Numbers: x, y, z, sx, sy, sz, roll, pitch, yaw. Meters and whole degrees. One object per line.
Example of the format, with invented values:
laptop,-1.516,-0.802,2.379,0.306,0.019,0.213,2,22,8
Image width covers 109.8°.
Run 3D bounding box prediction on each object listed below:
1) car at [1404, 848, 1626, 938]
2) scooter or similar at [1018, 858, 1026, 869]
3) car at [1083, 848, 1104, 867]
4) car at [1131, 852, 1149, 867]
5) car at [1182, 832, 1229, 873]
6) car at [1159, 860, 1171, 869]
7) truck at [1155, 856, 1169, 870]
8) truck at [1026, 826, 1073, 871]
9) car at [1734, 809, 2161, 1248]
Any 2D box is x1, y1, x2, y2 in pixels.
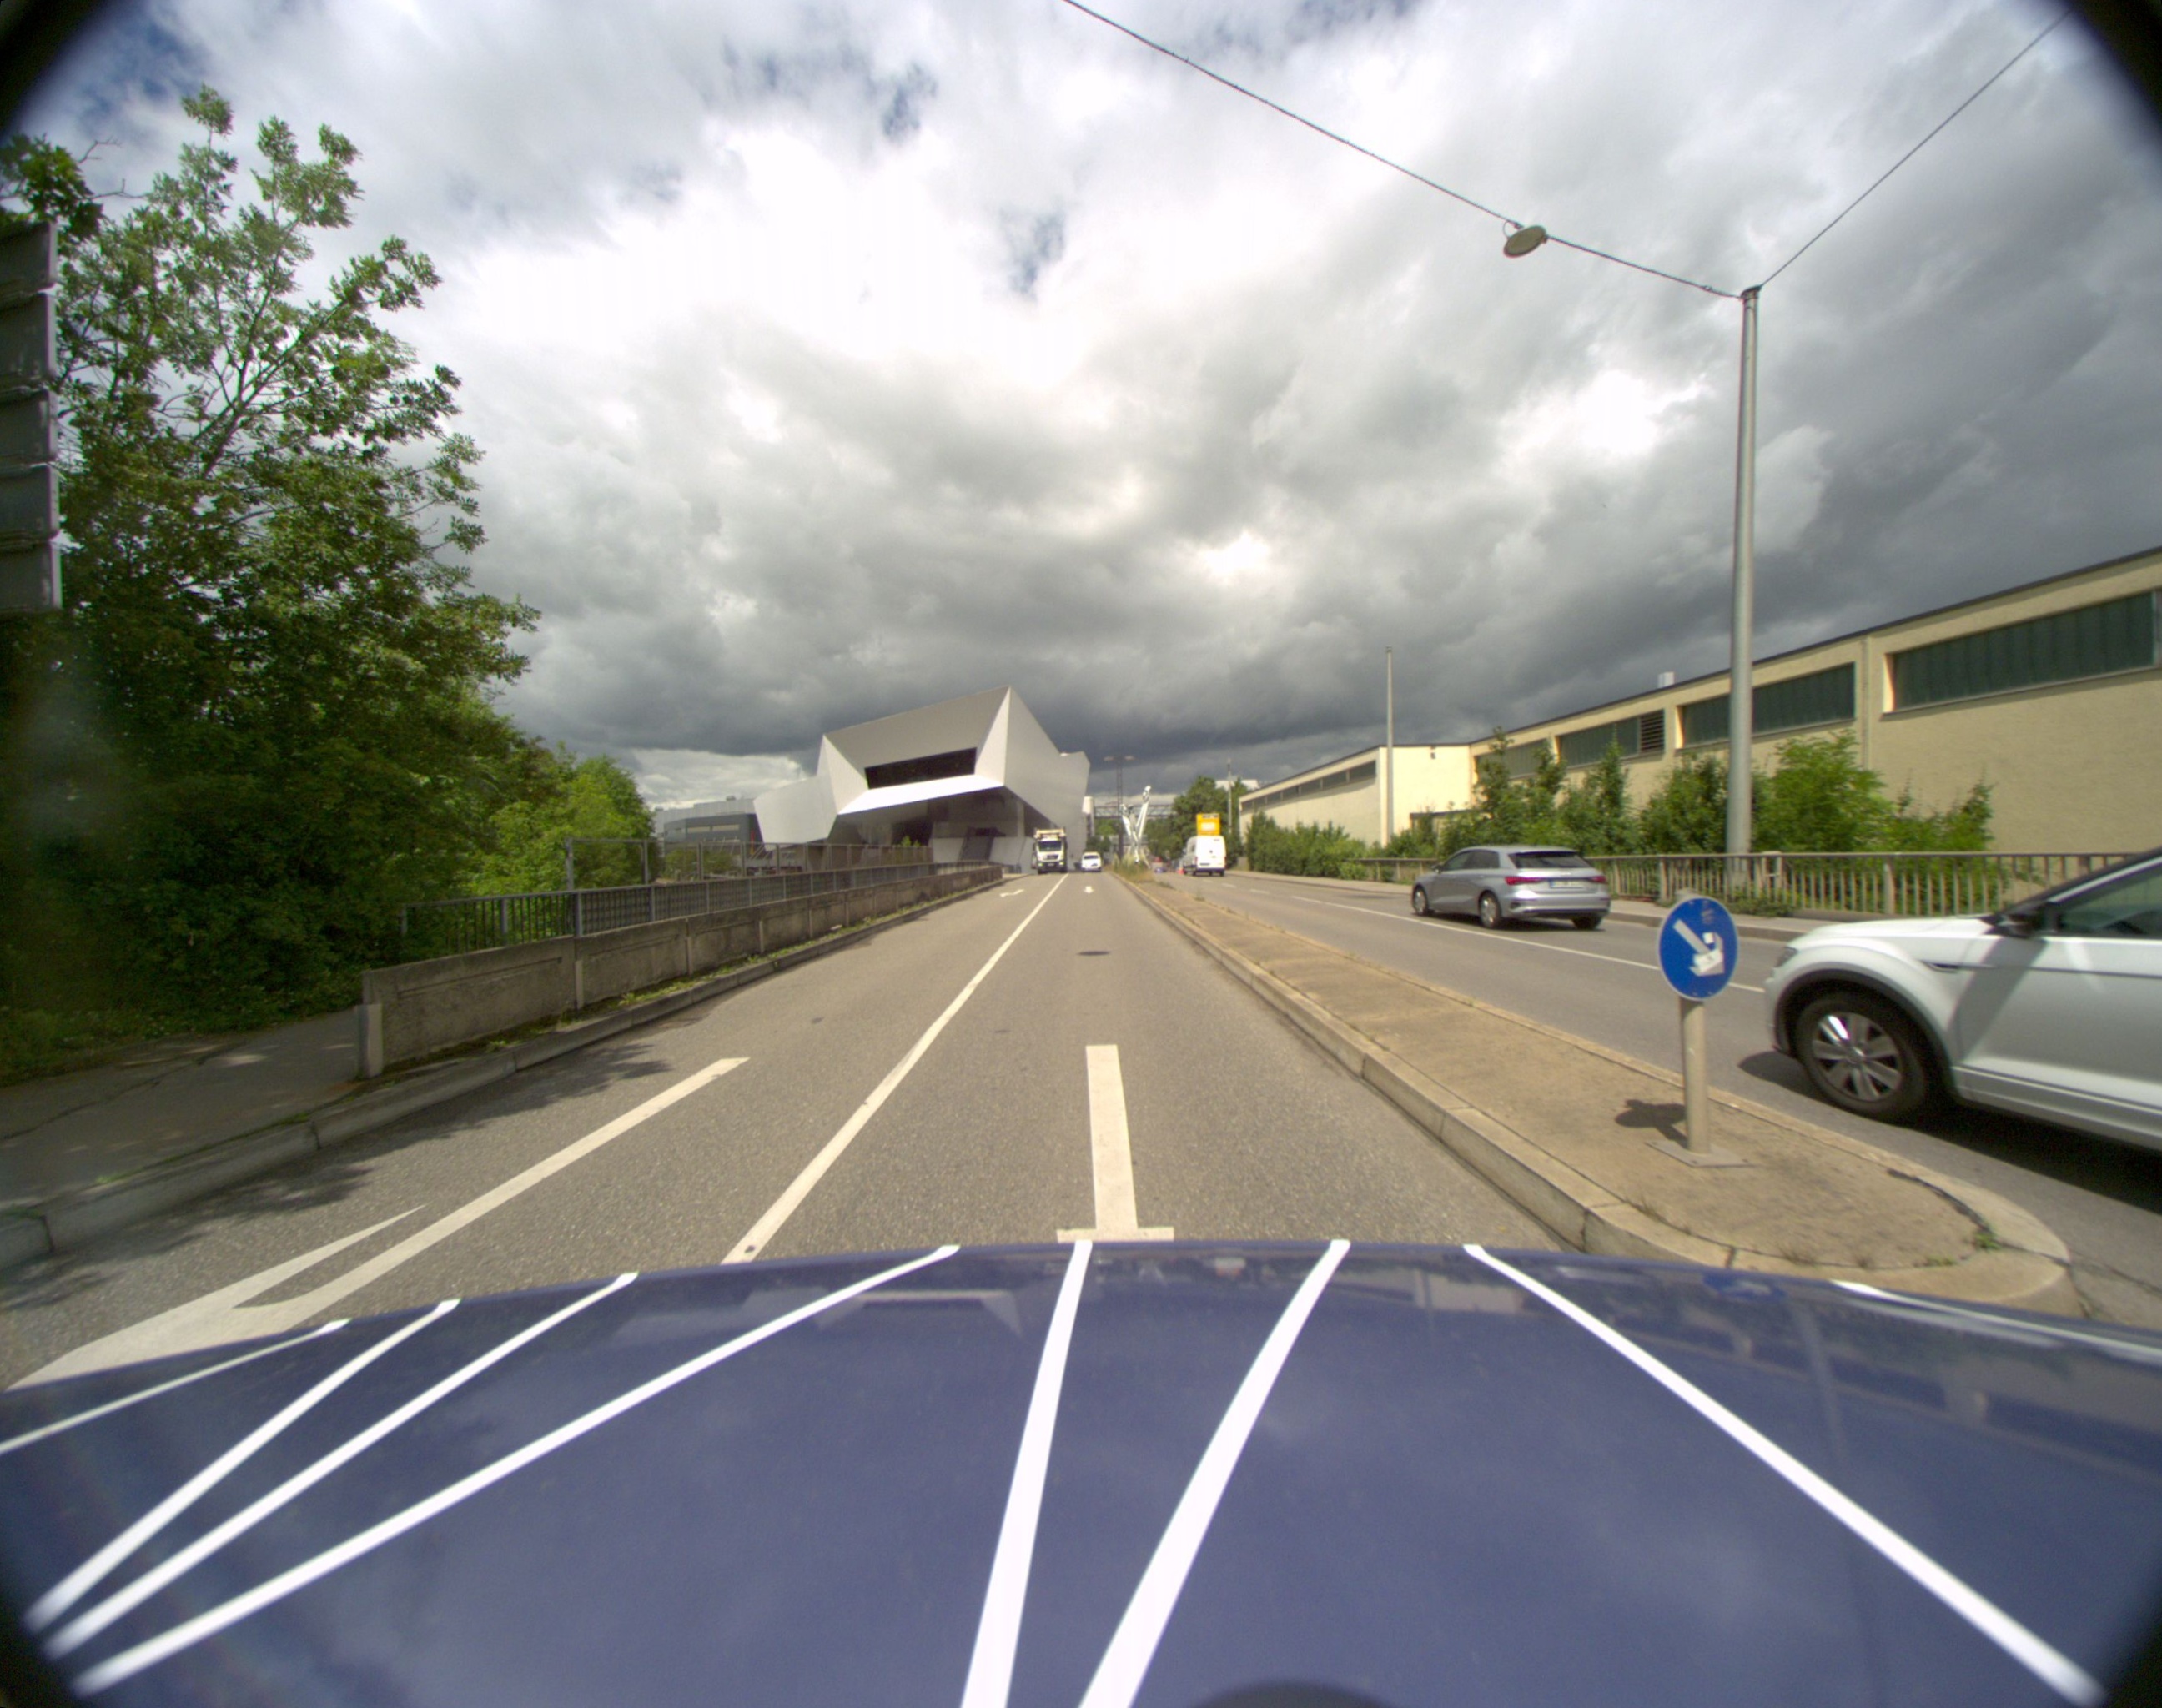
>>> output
car,7.534,0.578,13.727,1.641,1.355,4.194,-1,1,1
scooter or similar,-6.221,0.992,79.560,0.655,1.206,1.858,0,-1,1
car,1.233,0.300,74.648,1.986,1.702,4.760,-2,1,0
car,7.754,0.751,100.240,1.998,1.877,4.869,-1,0,1
car,8.186,-0.130,50.539,2.072,2.556,6.821,0,1,1
car,12.738,1.587,115.330,1.758,1.268,4.001,1,0,5
truck,19.268,2.171,180.830,2.861,2.839,9.388,-1,-3,9
truck,-2.652,-0.371,68.613,2.842,3.668,10.759,-1,-1,5
car,4.704,0.595,2.312,1.814,1.551,4.206,-2,1,0
